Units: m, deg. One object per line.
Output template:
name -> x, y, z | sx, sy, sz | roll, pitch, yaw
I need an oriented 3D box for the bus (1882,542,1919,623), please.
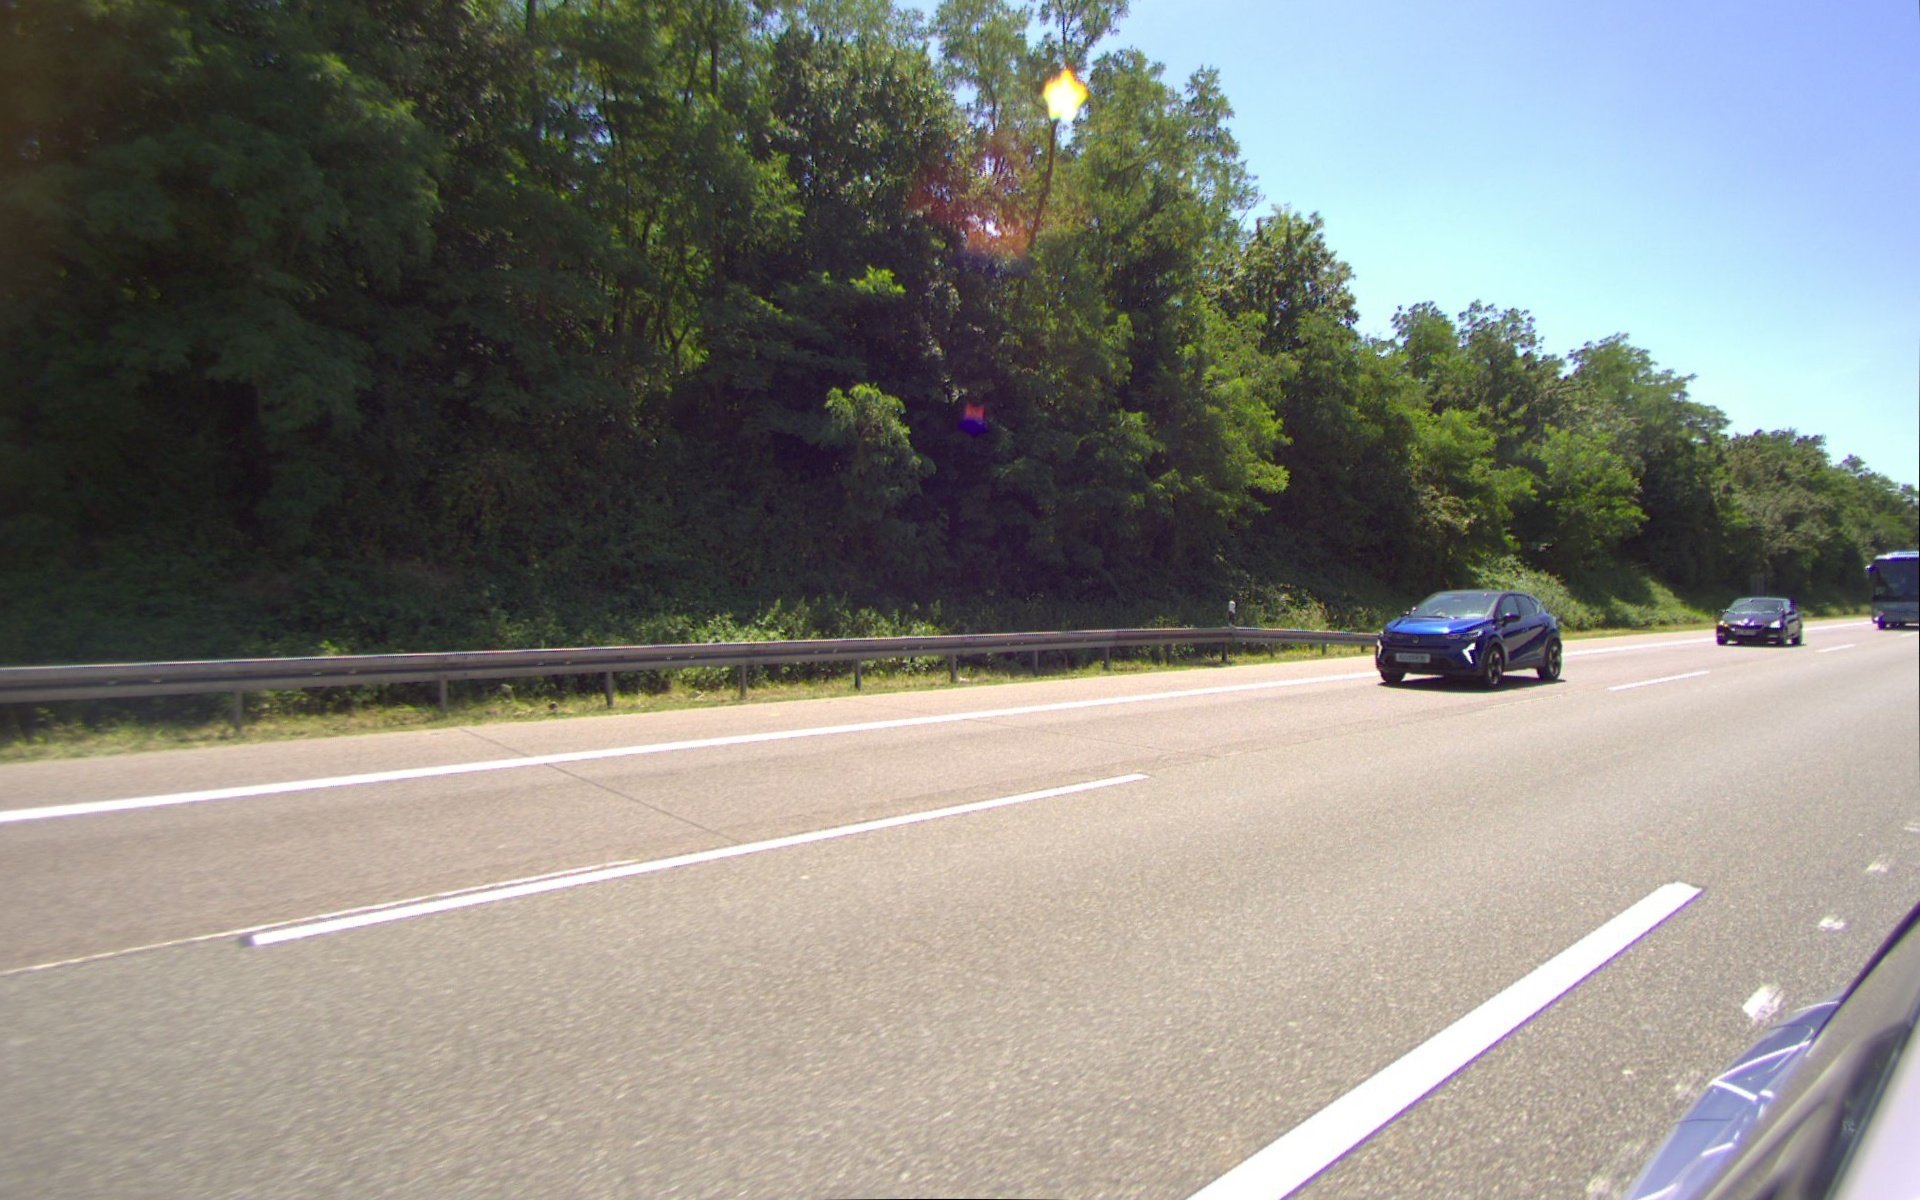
bus -> 47.797, -0.869, 49.439 | 13.445, 3.597, 2.614 | -1, 1, -41

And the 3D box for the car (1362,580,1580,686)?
car -> 8.701, 0.463, 17.094 | 4.128, 1.575, 1.873 | -1, 1, -41

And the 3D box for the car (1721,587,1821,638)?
car -> 25.156, 0.344, 31.347 | 4.494, 1.465, 1.672 | -1, 1, -41
